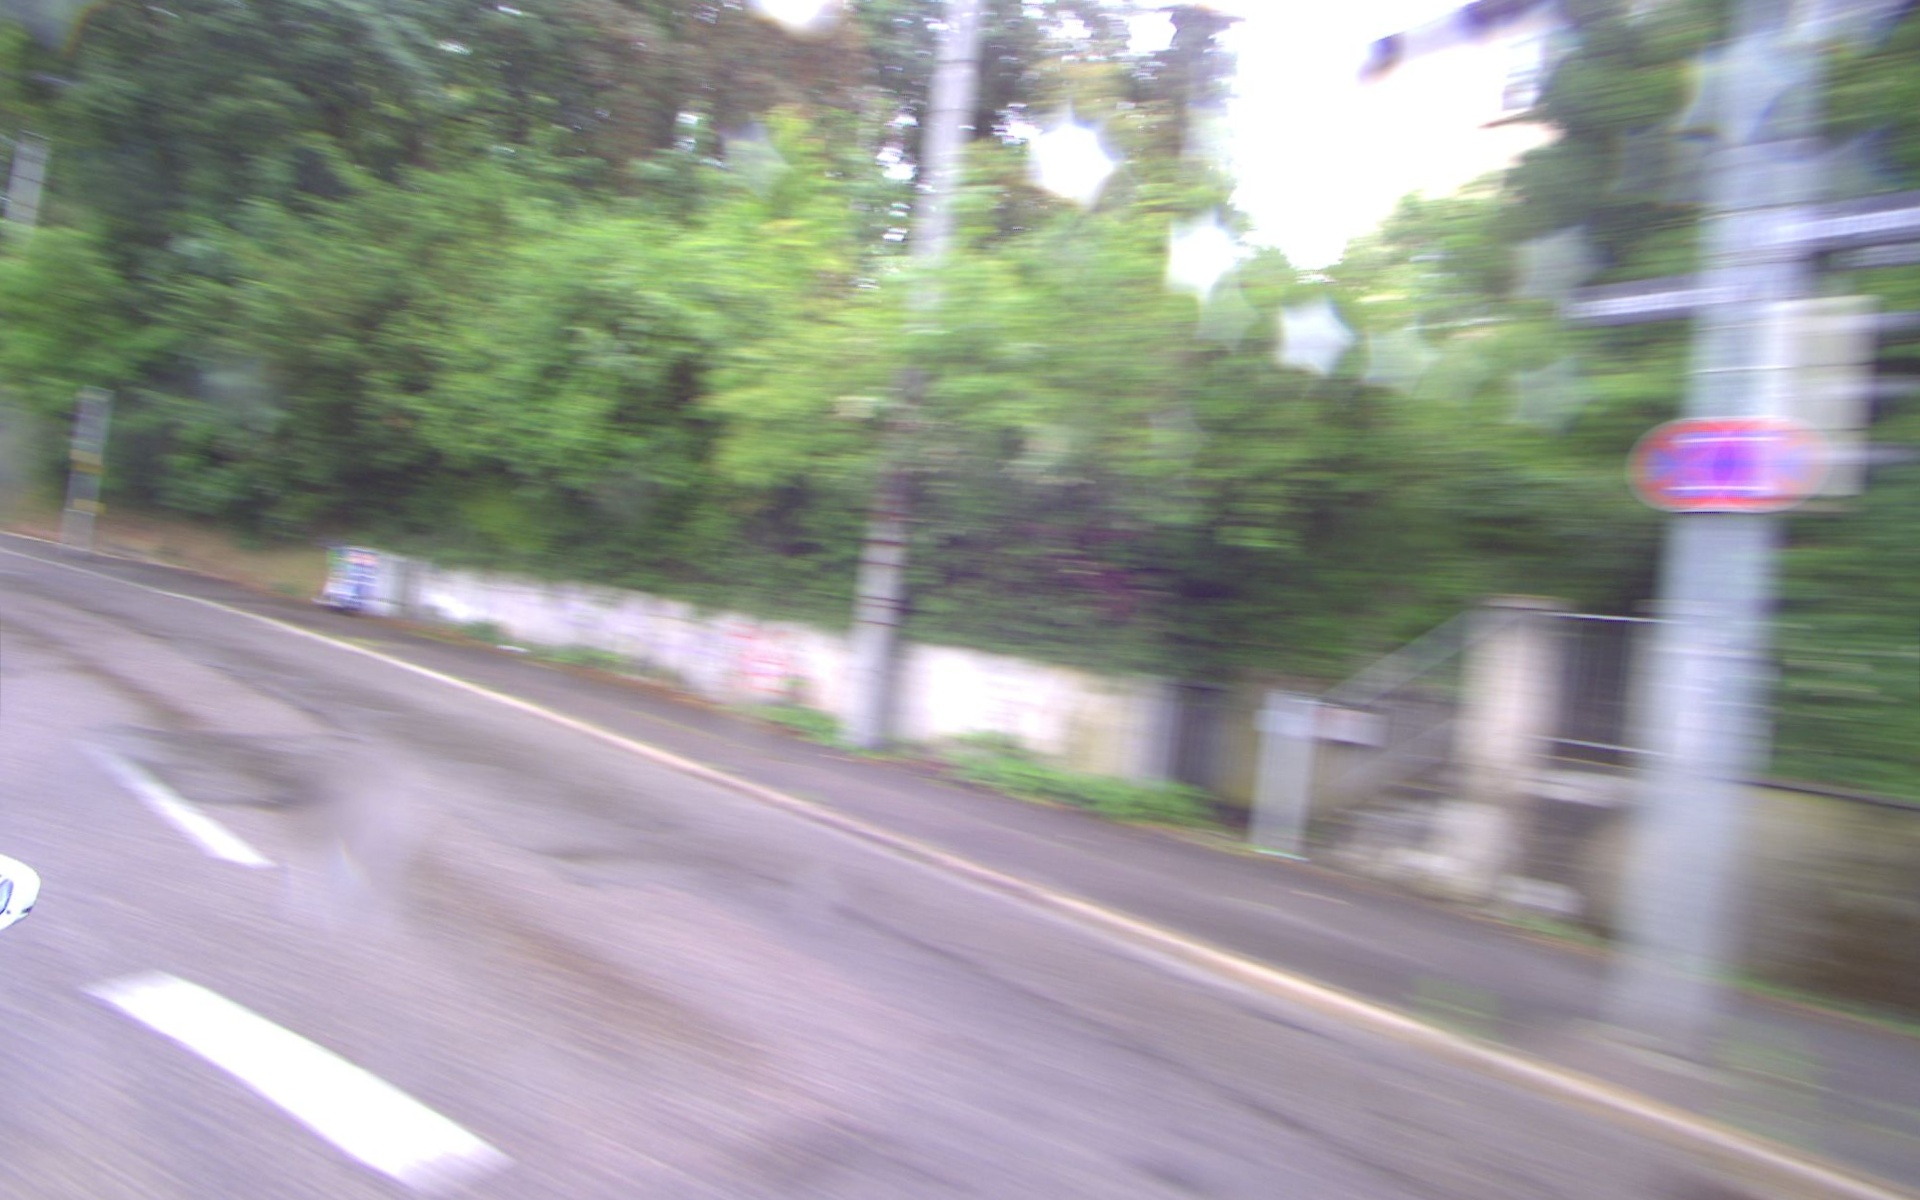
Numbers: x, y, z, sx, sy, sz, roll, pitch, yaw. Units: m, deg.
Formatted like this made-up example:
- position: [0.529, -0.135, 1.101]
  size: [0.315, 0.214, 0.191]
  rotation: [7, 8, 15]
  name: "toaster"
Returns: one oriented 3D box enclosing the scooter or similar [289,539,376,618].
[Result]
- position: [-10.398, -0.375, 16.647]
  size: [1.743, 1.087, 0.602]
  rotation: [8, -1, 41]
  name: "scooter or similar"
